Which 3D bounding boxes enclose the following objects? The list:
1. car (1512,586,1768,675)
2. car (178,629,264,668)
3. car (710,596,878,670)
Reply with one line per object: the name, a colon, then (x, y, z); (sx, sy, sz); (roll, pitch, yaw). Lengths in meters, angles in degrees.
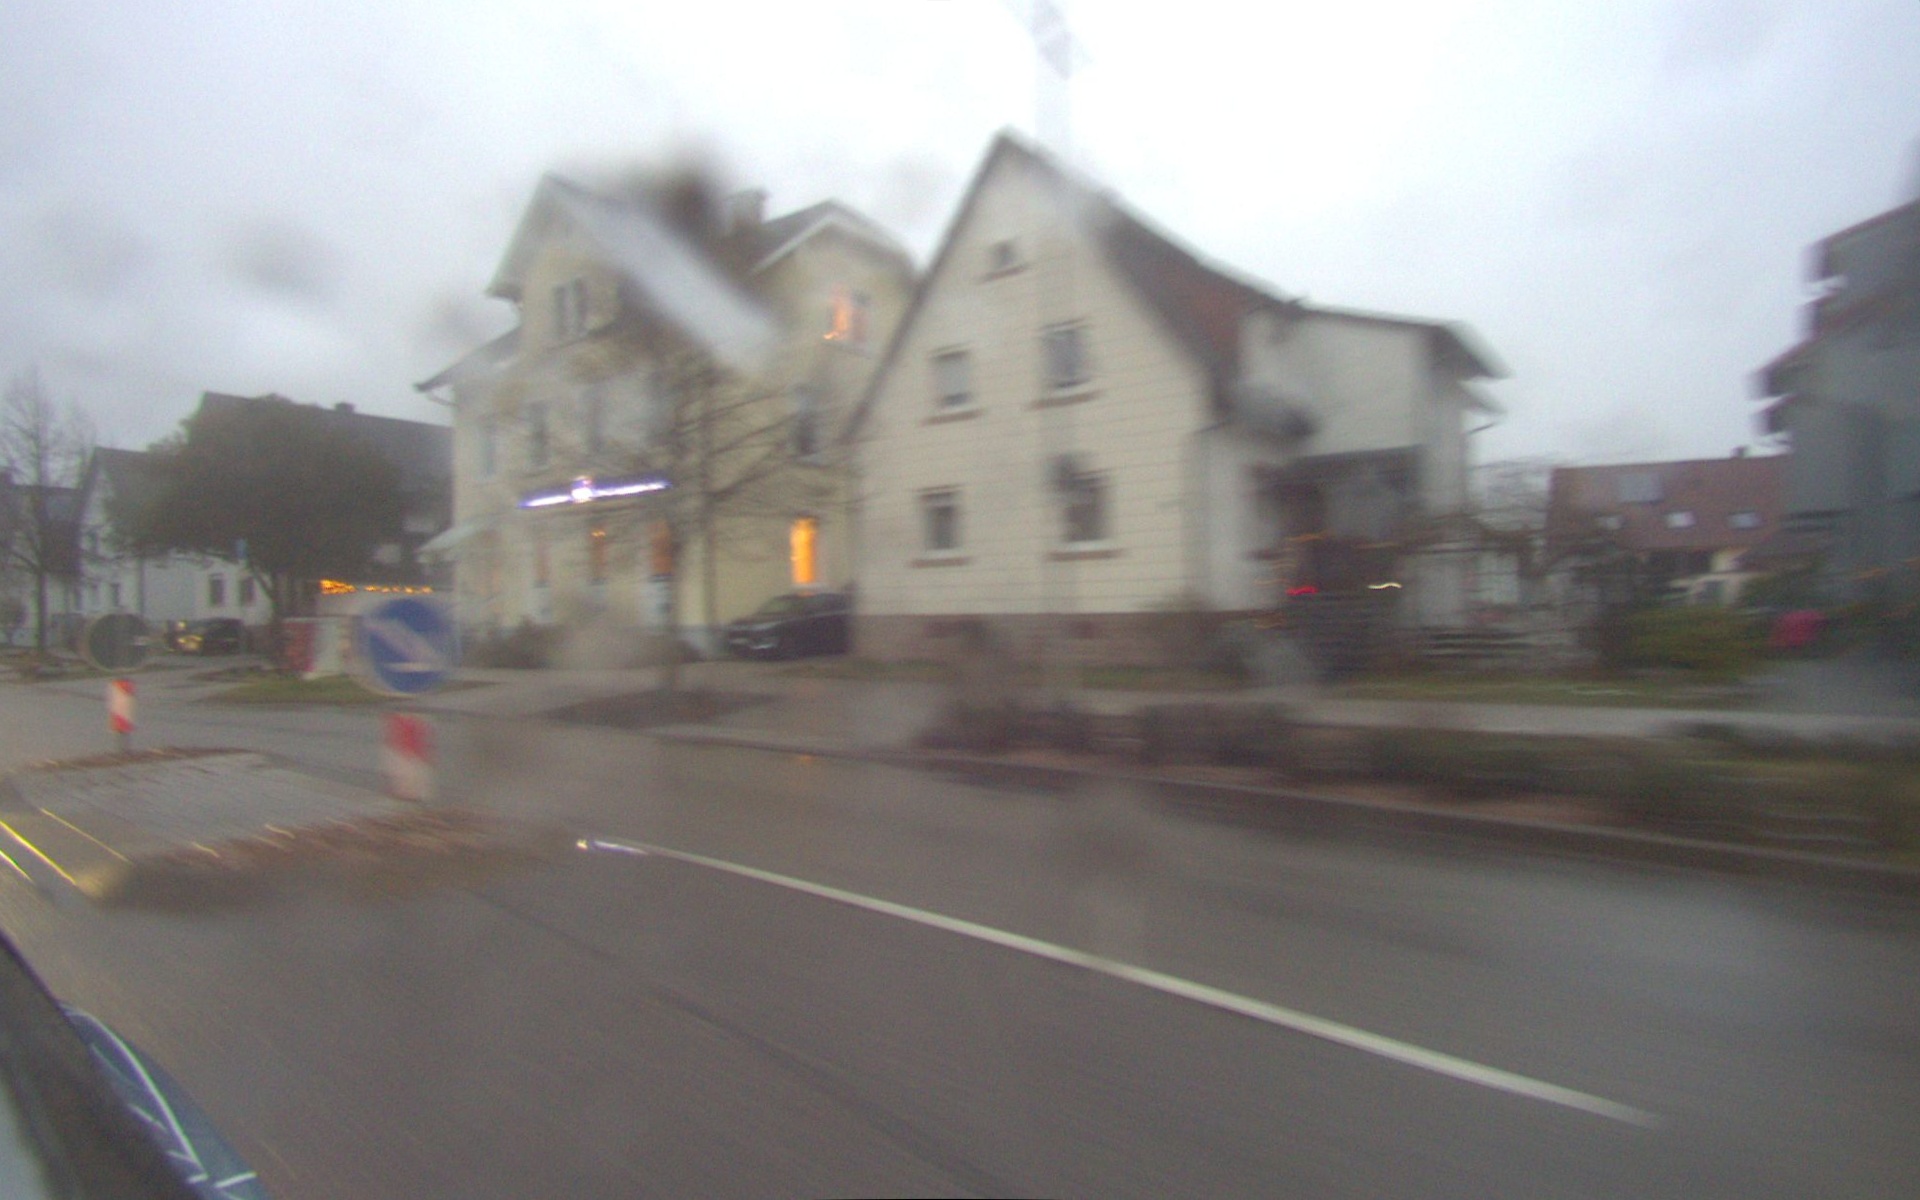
car: (13.408, 0.552, 20.071); (3.999, 1.537, 1.888); (-1, 1, 42)
car: (-29.209, 1.883, 39.963); (3.995, 1.376, 1.764); (-1, 1, 39)
car: (-4.080, 0.772, 25.372); (1.918, 1.612, 3.952); (-2, 0, 36)
